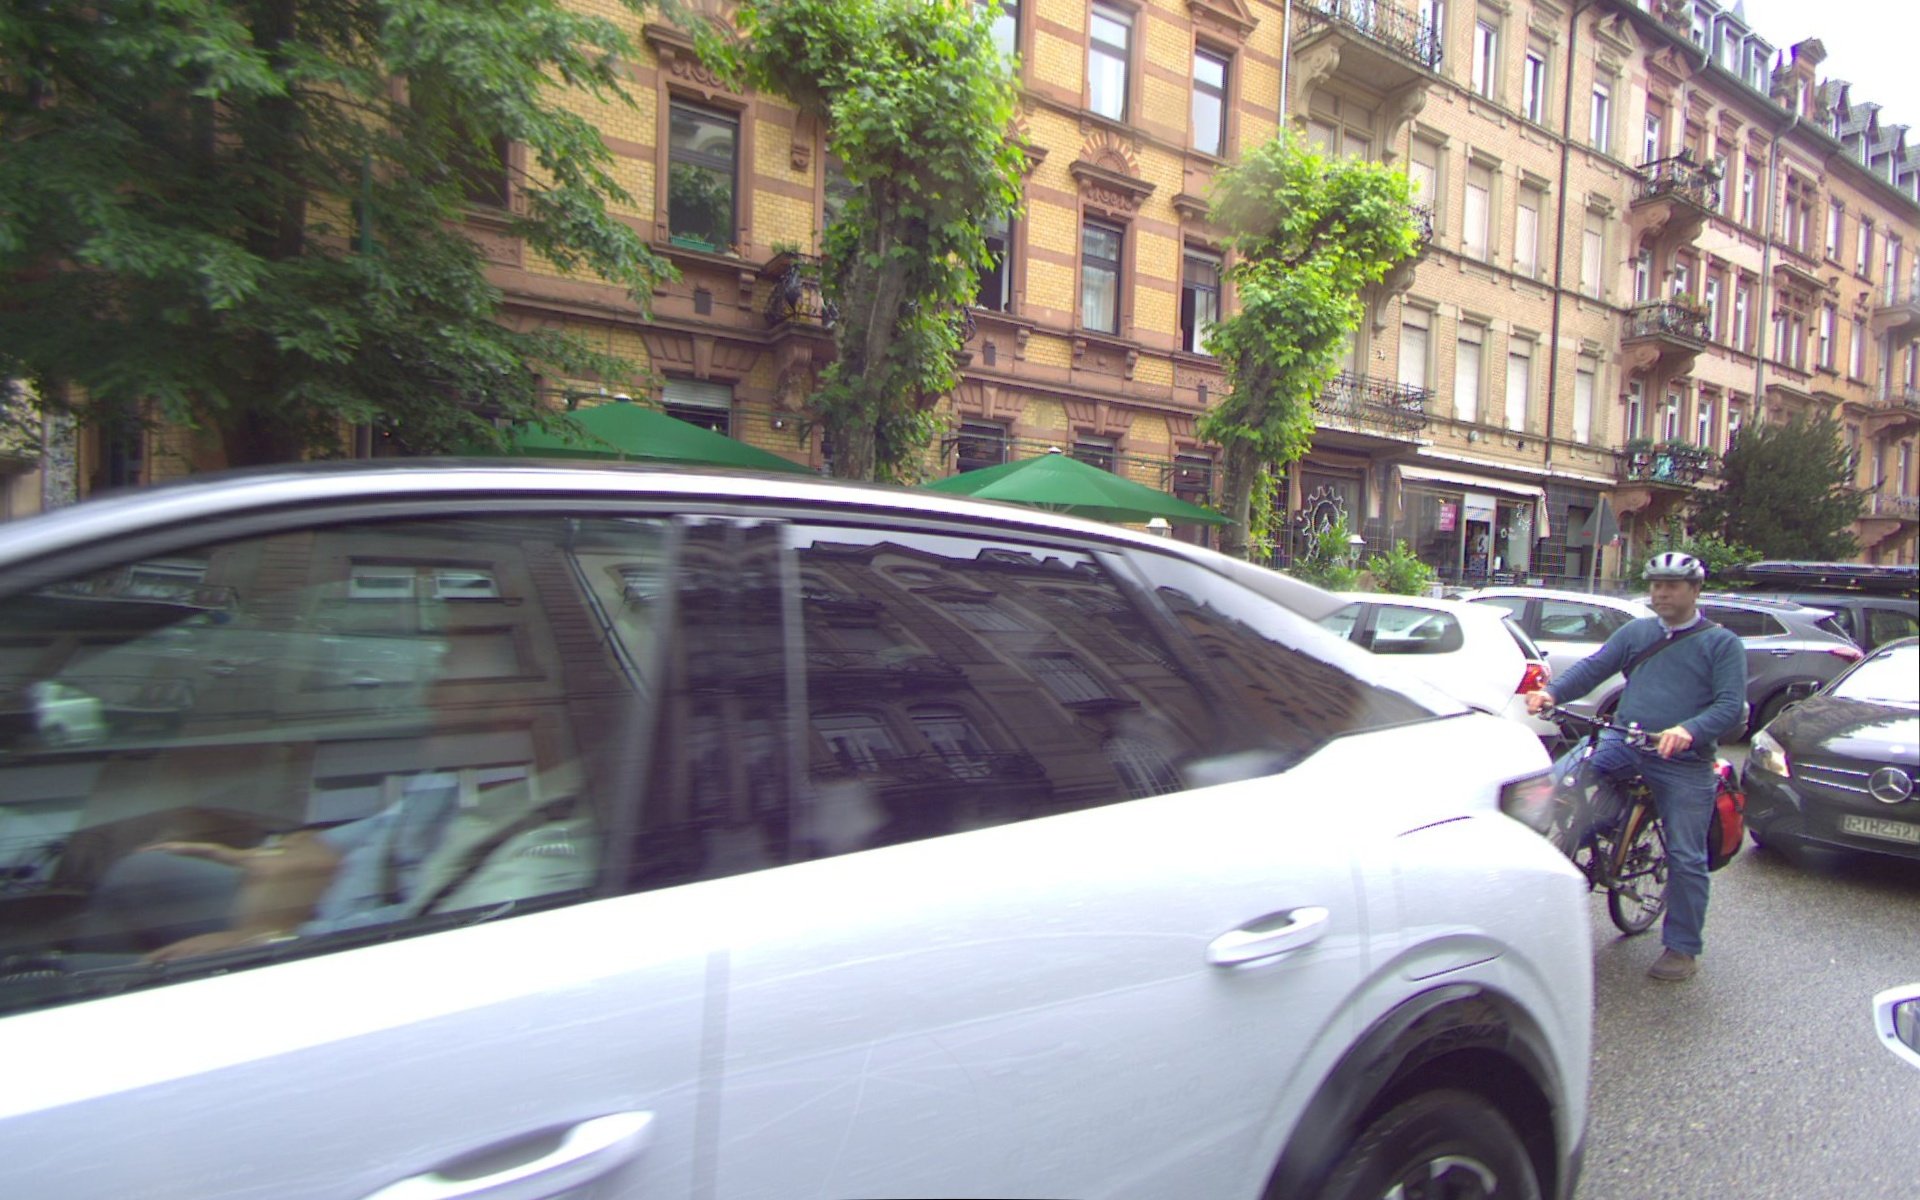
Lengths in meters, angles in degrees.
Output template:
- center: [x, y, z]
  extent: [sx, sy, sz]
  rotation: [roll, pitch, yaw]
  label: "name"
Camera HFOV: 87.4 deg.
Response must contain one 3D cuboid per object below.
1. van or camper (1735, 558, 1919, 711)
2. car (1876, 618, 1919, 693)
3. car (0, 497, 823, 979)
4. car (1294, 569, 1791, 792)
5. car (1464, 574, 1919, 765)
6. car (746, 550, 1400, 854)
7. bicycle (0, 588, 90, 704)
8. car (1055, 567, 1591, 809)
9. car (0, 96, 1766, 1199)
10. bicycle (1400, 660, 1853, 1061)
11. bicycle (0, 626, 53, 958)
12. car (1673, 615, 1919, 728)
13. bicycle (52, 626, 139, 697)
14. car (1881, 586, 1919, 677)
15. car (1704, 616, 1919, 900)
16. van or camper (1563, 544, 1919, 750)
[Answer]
- center: [15.929, 0.594, 16.439]
  extent: [4.639, 2.299, 2.182]
  rotation: [4, 4, 26]
  label: "van or camper"
- center: [20.837, 1.190, 19.674]
  extent: [3.929, 1.455, 1.781]
  rotation: [3, 1, 31]
  label: "car"
- center: [-3.173, 0.397, 5.295]
  extent: [4.372, 1.584, 1.999]
  rotation: [5, 1, 23]
  label: "car"
- center: [5.758, 0.687, 10.523]
  extent: [4.059, 1.684, 1.800]
  rotation: [5, 3, 23]
  label: "car"
- center: [8.468, 0.708, 12.080]
  extent: [4.059, 1.684, 1.800]
  rotation: [5, 2, 23]
  label: "car"
- center: [0.844, 0.533, 7.860]
  extent: [4.636, 1.584, 1.998]
  rotation: [5, 4, 25]
  label: "car"
- center: [-7.407, 0.340, 8.121]
  extent: [0.401, 0.826, 1.381]
  rotation: [2, 2, -35]
  label: "bicycle"
- center: [3.124, 0.636, 9.109]
  extent: [4.059, 1.513, 1.800]
  rotation: [5, 2, 24]
  label: "car"
- center: [-0.845, 0.539, 1.553]
  extent: [4.955, 1.682, 1.847]
  rotation: [1, 0, -33]
  label: "car"
- center: [2.874, 0.911, 4.234]
  extent: [2.245, 1.196, 0.765]
  rotation: [0, 1, -33]
  label: "bicycle"
- center: [-4.032, 0.690, 3.133]
  extent: [0.577, 1.159, 1.679]
  rotation: [4, 2, 30]
  label: "bicycle"
- center: [13.134, 1.012, 14.884]
  extent: [3.926, 1.515, 1.825]
  rotation: [0, 0, 27]
  label: "car"
- center: [-7.177, 0.490, 8.373]
  extent: [0.401, 0.459, 1.381]
  rotation: [2, 1, -35]
  label: "bicycle"
- center: [24.755, 0.854, 22.940]
  extent: [5.165, 2.106, 1.864]
  rotation: [3, 1, 35]
  label: "car"
- center: [6.820, 0.884, 6.584]
  extent: [4.093, 1.514, 1.785]
  rotation: [1, 0, -32]
  label: "car"
- center: [10.692, 0.551, 13.609]
  extent: [4.009, 2.269, 1.935]
  rotation: [5, 2, 27]
  label: "van or camper"
